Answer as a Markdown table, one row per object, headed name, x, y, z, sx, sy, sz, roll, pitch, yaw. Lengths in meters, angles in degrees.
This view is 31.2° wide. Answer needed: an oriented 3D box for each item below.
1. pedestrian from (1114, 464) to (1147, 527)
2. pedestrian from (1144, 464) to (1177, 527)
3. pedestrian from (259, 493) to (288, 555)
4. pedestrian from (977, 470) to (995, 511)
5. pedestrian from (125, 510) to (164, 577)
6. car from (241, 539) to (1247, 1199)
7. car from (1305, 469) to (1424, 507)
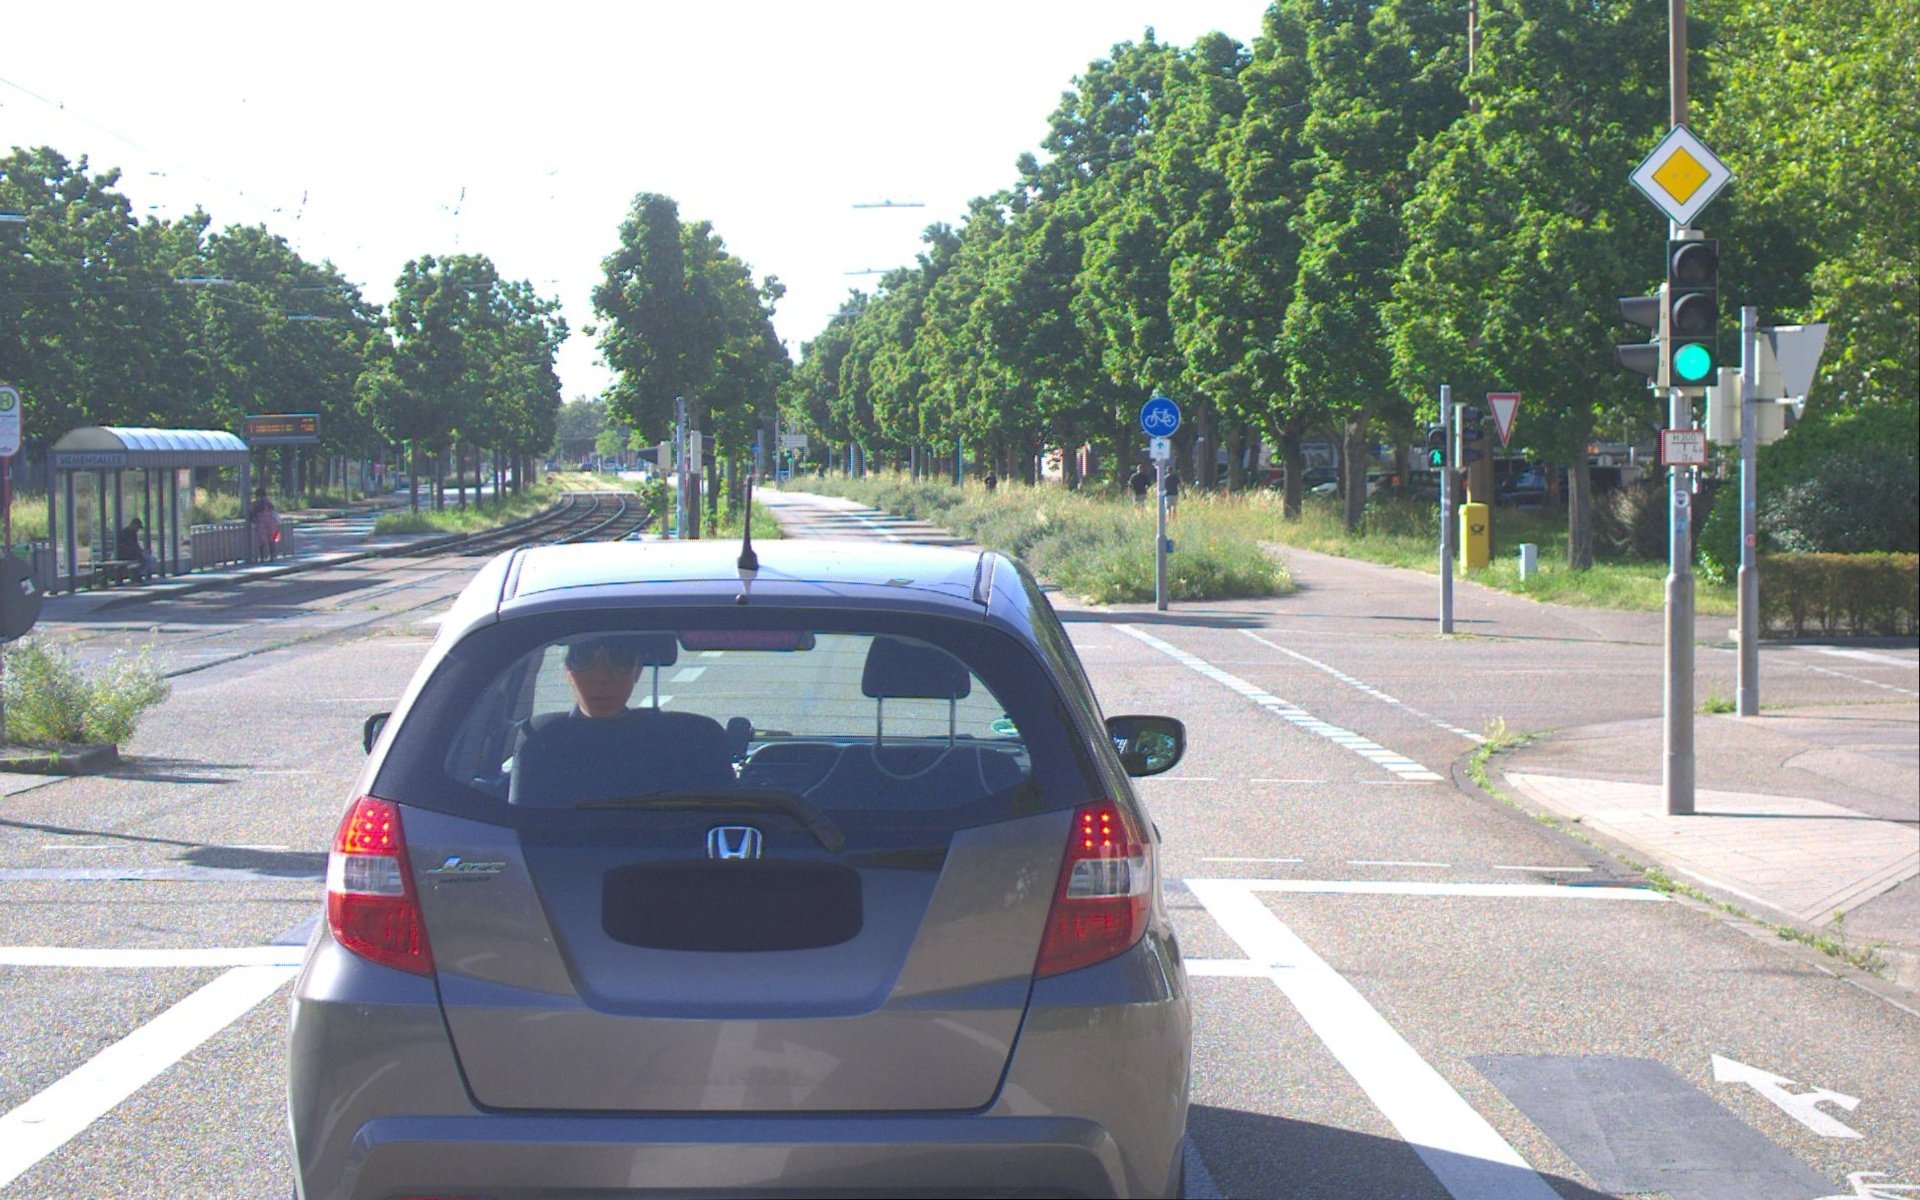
| name | x | y | z | sx | sy | sz | roll | pitch | yaw |
| --- | --- | --- | --- | --- | --- | --- | --- | --- | --- |
| pedestrian | 5.133 | -3.152 | 103.541 | 0.882 | 1.877 | 0.875 | -1 | 2 | -4 |
| pedestrian | 6.051 | -3.140 | 103.603 | 0.882 | 1.877 | 0.875 | -1 | 2 | -4 |
| pedestrian | -15.997 | -1.773 | 80.089 | 0.544 | 1.442 | 0.559 | -1 | 1 | -1 |
| pedestrian | 1.085 | -4.635 | 145.521 | 0.725 | 1.685 | 0.821 | 0 | 1 | -3 |
| pedestrian | -15.545 | -1.079 | 65.536 | 0.563 | 1.252 | 0.581 | -3 | 1 | -1 |
| car | -0.390 | 0.632 | 7.699 | 1.701 | 1.518 | 3.710 | 0 | 1 | -1 |
| car | 16.983 | -4.700 | 144.521 | 4.630 | 1.550 | 2.001 | -1 | 2 | -6 |
